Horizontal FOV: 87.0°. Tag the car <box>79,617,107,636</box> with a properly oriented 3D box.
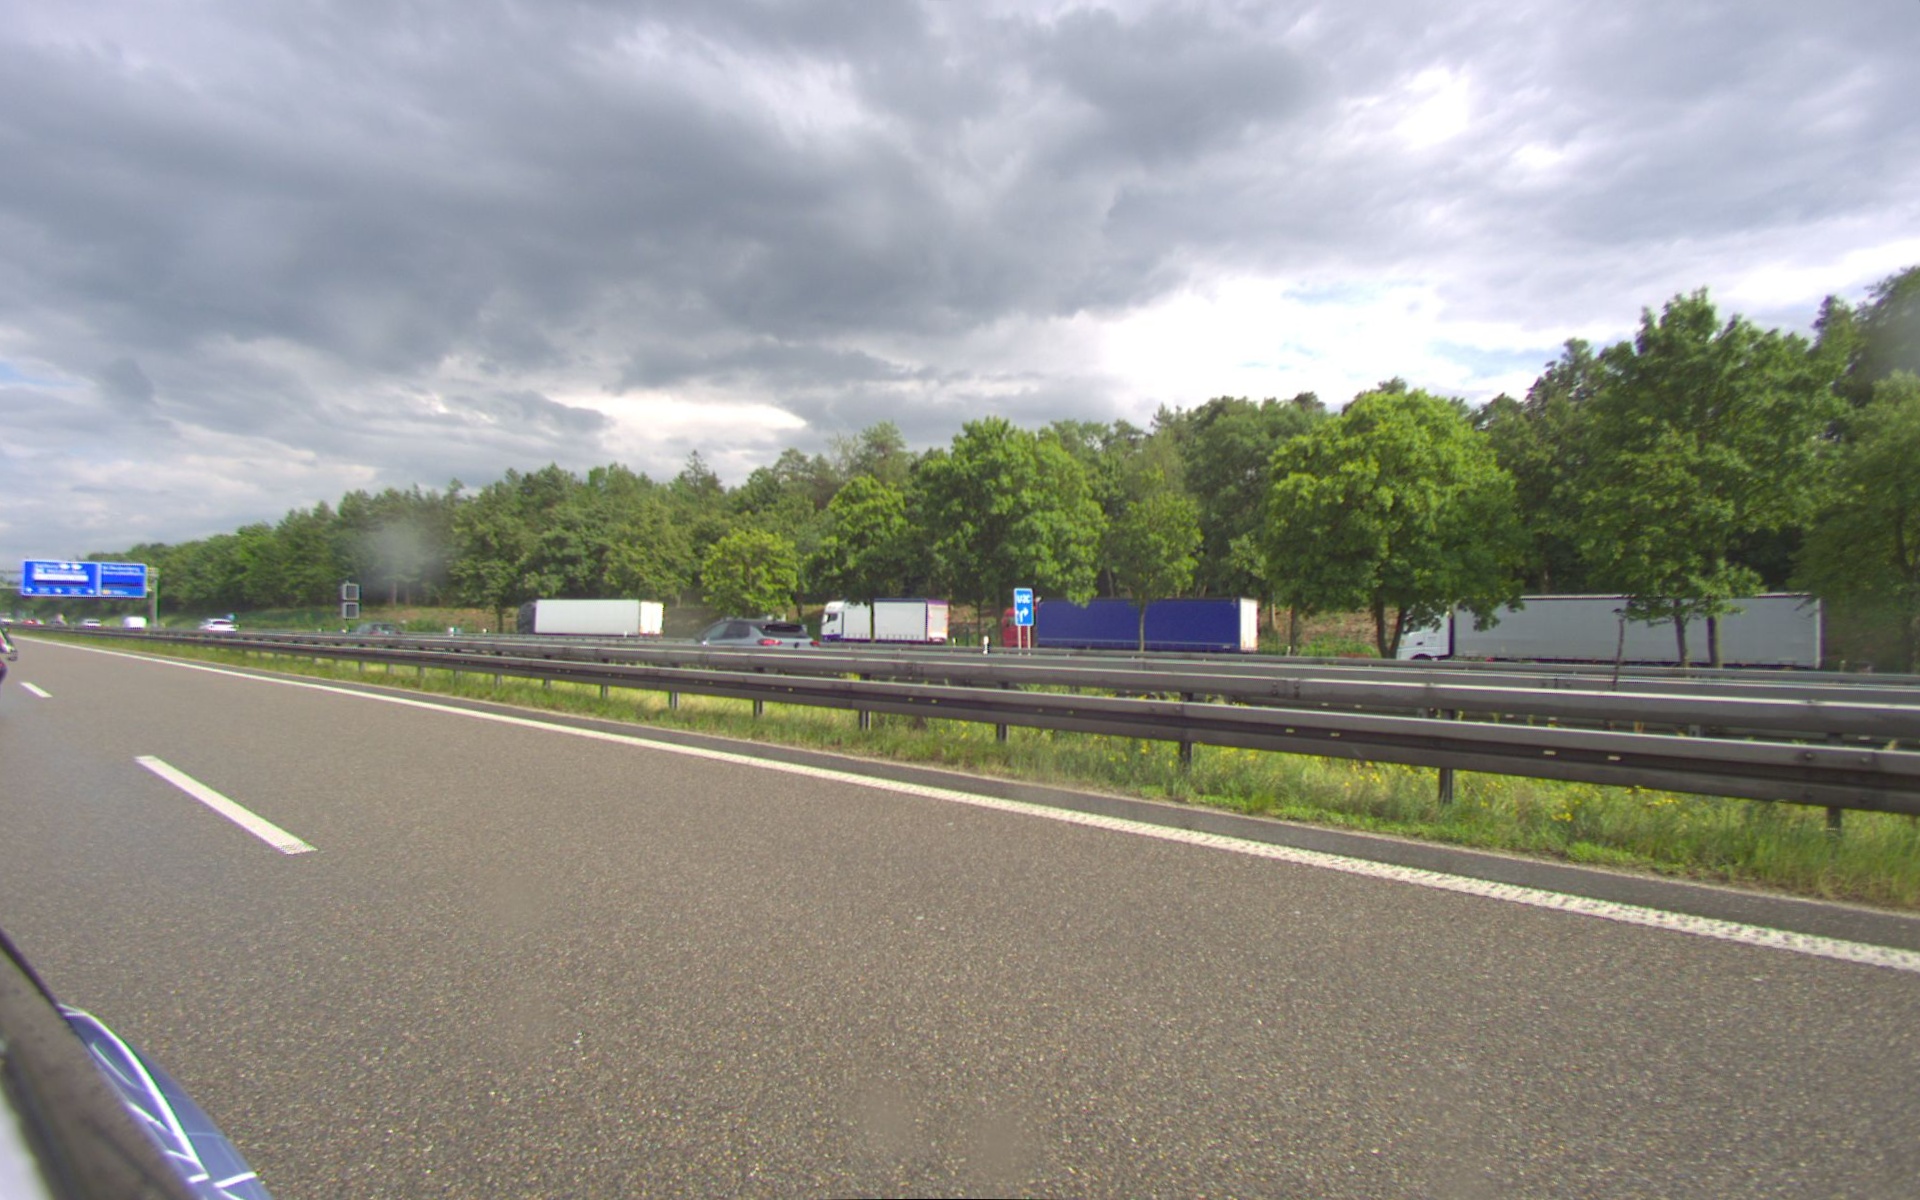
[{"bbox_3d":[-90.832,2.754,106.026,4.780,1.905,1.810,-1,0,44],"label":"car"}]

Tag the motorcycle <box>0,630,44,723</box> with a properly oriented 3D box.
[{"bbox_3d":[-14.575,1.093,14.951,3.193,1.235,1.172,-1,0,41],"label":"motorcycle"}]

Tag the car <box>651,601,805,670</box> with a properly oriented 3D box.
[{"bbox_3d":[-7.091,0.999,30.652,4.780,1.905,2.275,-1,0,44],"label":"car"}]

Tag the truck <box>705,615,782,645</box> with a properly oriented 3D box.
[{"bbox_3d":[-17.241,2.355,80.571,6.295,2.282,2.103,-1,0,31],"label":"truck"}]

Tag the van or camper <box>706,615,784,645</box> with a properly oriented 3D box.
[{"bbox_3d":[-17.118,2.354,80.512,6.300,2.282,2.103,-1,0,31],"label":"van or camper"}]

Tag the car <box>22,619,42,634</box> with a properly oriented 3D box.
[{"bbox_3d":[-135.940,3.848,148.256,4.780,2.060,1.810,-1,0,44],"label":"car"}]

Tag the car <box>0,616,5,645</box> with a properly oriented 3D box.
[{"bbox_3d":[-70.856,2.204,73.214,5.144,2.060,2.318,-1,0,44],"label":"car"}]

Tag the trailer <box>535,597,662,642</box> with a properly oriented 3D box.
[{"bbox_3d":[-31.781,1.730,88.680,12.520,3.767,3.181,-1,-1,30],"label":"trailer"}]

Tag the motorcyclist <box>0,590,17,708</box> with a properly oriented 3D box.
[{"bbox_3d":[-14.561,0.722,14.908,1.000,1.719,0.872,-1,0,41],"label":"motorcyclist"}]

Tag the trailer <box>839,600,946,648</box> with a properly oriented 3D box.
[{"bbox_3d":[-4.901,1.707,72.274,7.721,3.257,2.558,-1,-1,34],"label":"trailer"}]

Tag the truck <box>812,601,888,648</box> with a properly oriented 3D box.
[{"bbox_3d":[-8.088,1.752,74.345,5.072,3.292,2.632,-1,0,34],"label":"truck"}]

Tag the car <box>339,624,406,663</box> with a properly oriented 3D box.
[{"bbox_3d":[-31.242,2.261,53.791,4.780,1.905,1.810,-1,0,44],"label":"car"}]

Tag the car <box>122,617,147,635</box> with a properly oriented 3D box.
[{"bbox_3d":[-102.702,3.220,125.890,4.780,2.060,1.810,-1,0,44],"label":"car"}]

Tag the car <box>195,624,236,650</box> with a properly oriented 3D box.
[{"bbox_3d":[-59.199,2.907,80.409,4.780,1.905,1.810,-1,0,44],"label":"car"}]

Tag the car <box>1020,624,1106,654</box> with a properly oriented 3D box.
[{"bbox_3d":[7.529,2.829,74.254,6.120,2.029,1.976,-1,0,36],"label":"car"}]

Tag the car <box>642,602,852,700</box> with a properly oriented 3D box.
[{"bbox_3d":[-4.826,1.034,22.510,4.780,1.905,2.275,-1,0,44],"label":"car"}]

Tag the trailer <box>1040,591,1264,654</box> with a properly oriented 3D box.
[{"bbox_3d":[11.197,1.343,60.695,13.403,3.431,2.797,-1,-2,37],"label":"trailer"}]

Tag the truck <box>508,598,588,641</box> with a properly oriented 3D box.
[{"bbox_3d":[-37.472,1.774,91.948,6.888,3.732,3.185,-1,0,30],"label":"truck"}]

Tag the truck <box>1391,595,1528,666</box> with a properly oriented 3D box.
[{"bbox_3d":[24.880,1.423,50.460,5.503,3.298,3.318,-1,0,40],"label":"truck"}]

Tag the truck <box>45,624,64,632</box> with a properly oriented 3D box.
[{"bbox_3d":[-140.641,4.304,157.157,4.001,1.203,1.867,-1,0,44],"label":"truck"}]

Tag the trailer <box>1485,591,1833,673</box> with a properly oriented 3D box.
[{"bbox_3d":[30.740,1.374,45.226,12.471,3.241,3.312,-1,-2,42],"label":"trailer"}]

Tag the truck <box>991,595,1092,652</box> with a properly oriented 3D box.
[{"bbox_3d":[5.206,1.448,65.255,5.887,3.482,2.834,-1,0,37],"label":"truck"}]
